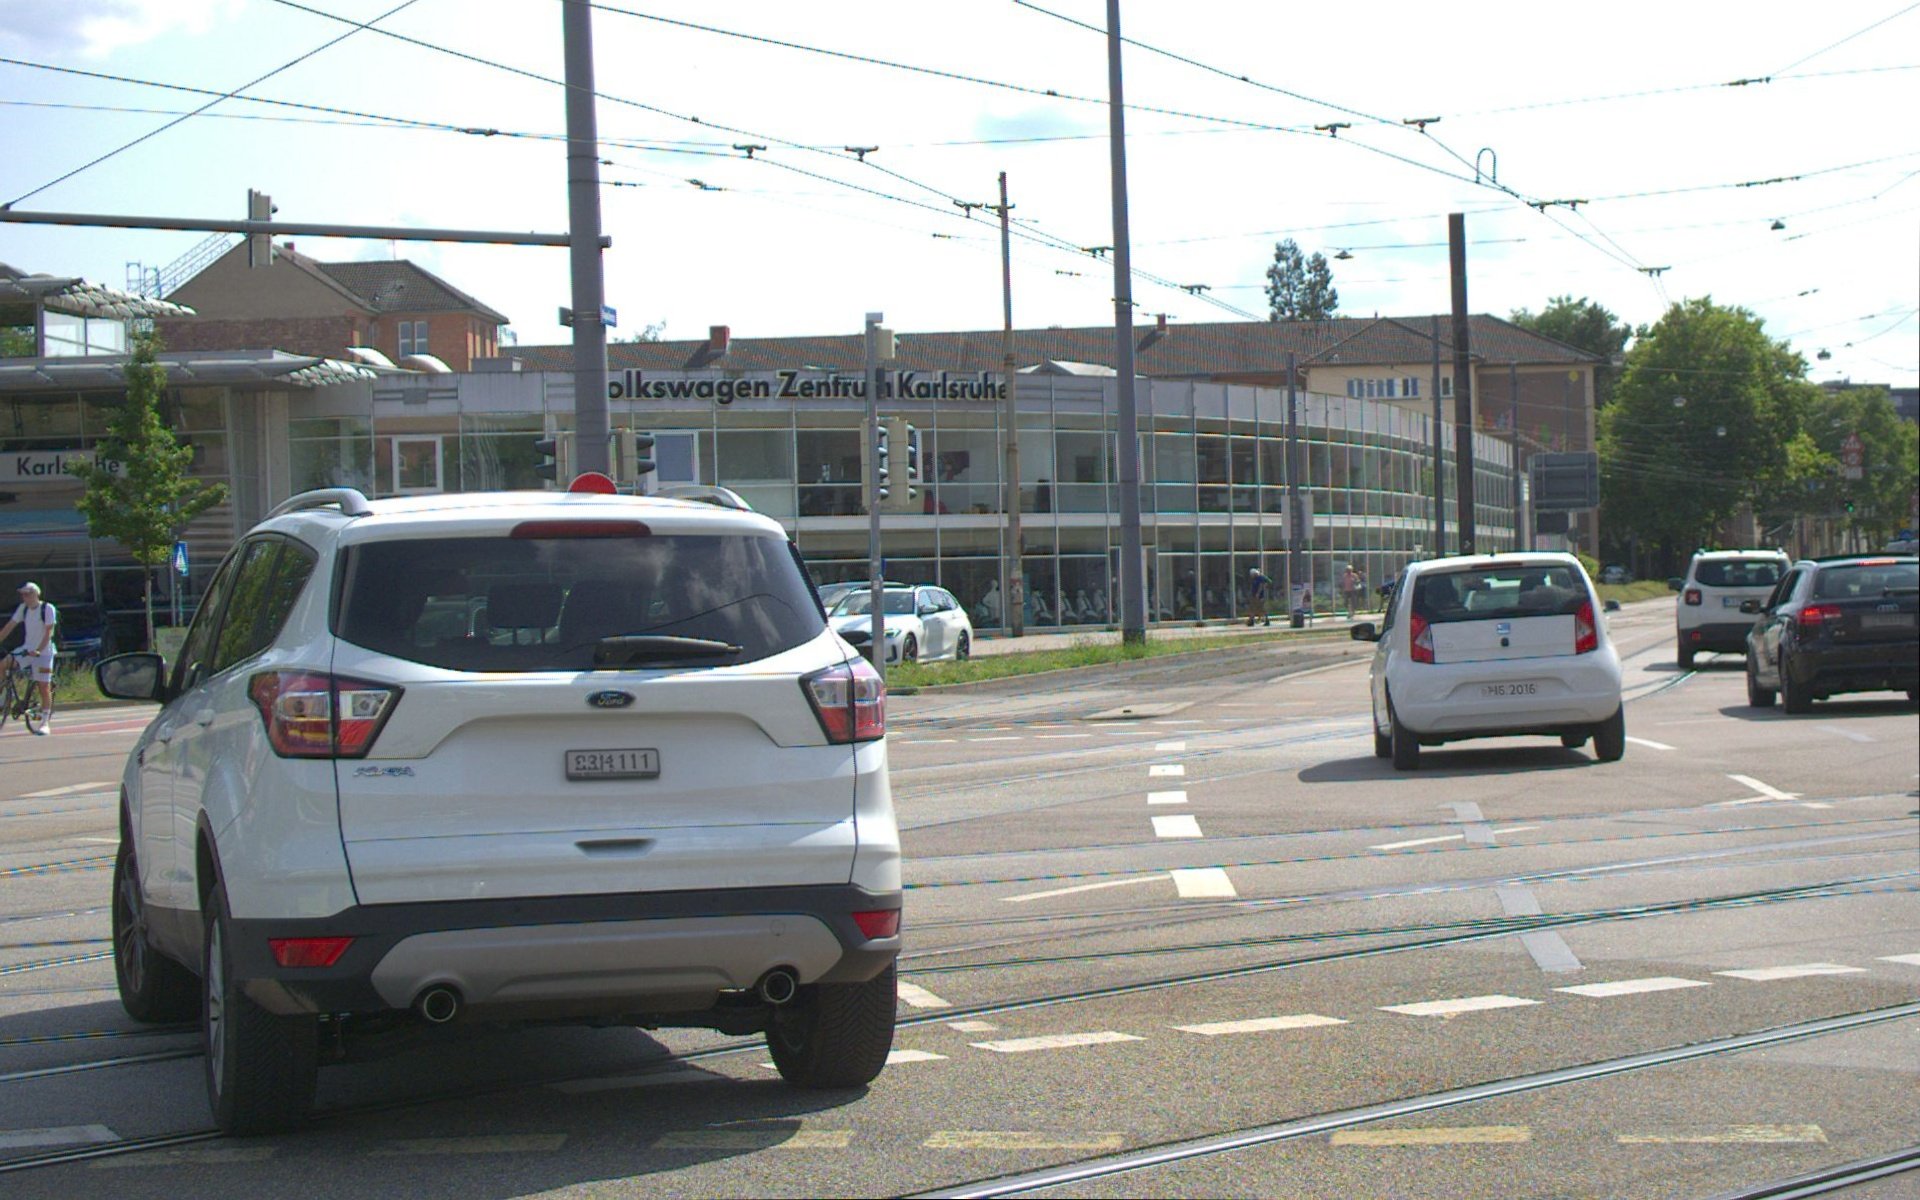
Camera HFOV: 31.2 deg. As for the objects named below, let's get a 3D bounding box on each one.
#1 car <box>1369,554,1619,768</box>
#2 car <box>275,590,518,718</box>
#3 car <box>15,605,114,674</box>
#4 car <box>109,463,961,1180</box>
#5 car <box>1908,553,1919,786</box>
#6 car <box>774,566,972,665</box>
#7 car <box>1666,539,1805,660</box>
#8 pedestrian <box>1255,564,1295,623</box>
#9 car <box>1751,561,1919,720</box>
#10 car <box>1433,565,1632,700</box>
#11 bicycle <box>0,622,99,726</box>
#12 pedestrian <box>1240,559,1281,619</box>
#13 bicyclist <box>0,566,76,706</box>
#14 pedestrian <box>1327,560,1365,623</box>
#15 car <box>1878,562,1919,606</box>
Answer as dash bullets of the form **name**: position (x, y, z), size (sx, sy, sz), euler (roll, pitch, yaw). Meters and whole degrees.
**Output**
- **car**: position (3.961, 0.394, 25.431), size (1.650, 1.417, 3.999), euler (-2, 0, 9)
- **car**: position (-6.743, 0.620, 41.492), size (1.738, 1.368, 3.640), euler (-2, 0, 10)
- **car**: position (-21.538, 0.958, 82.805), size (1.818, 1.528, 3.917), euler (-3, -1, -8)
- **car**: position (-1.471, 0.517, 10.277), size (1.826, 1.658, 3.956), euler (-2, 0, -17)
- **car**: position (6.793, 0.409, 19.232), size (1.931, 1.450, 4.758), euler (-1, 0, 4)
- **car**: position (-1.364, 0.224, 55.686), size (1.901, 1.456, 3.965), euler (-2, 0, 19)
- **car**: position (11.085, 0.009, 49.328), size (1.837, 1.646, 3.998), euler (-1, 0, 12)
- **pedestrian**: position (9.364, -0.199, 102.059), size (0.876, 1.731, 0.874), euler (0, -1, 32)
- **car**: position (8.452, 0.333, 32.324), size (1.699, 1.367, 4.131), euler (-1, 0, 9)
- **car**: position (6.363, 0.343, 37.936), size (1.851, 1.414, 3.676), euler (-1, 0, 14)
- **bicycle**: position (-11.362, 0.899, 41.983), size (0.759, 1.188, 2.149), euler (-2, 0, 11)
- **pedestrian**: position (8.754, -0.322, 100.213), size (0.876, 1.731, 0.874), euler (0, -1, 32)
- **bicyclist**: position (-11.383, 0.436, 42.094), size (0.759, 1.677, 0.760), euler (-2, 0, 11)
- **pedestrian**: position (11.826, -0.256, 105.336), size (0.876, 1.916, 0.875), euler (0, -1, 29)
- **car**: position (36.530, -0.615, 133.116), size (1.838, 1.646, 3.997), euler (-1, 0, 16)
